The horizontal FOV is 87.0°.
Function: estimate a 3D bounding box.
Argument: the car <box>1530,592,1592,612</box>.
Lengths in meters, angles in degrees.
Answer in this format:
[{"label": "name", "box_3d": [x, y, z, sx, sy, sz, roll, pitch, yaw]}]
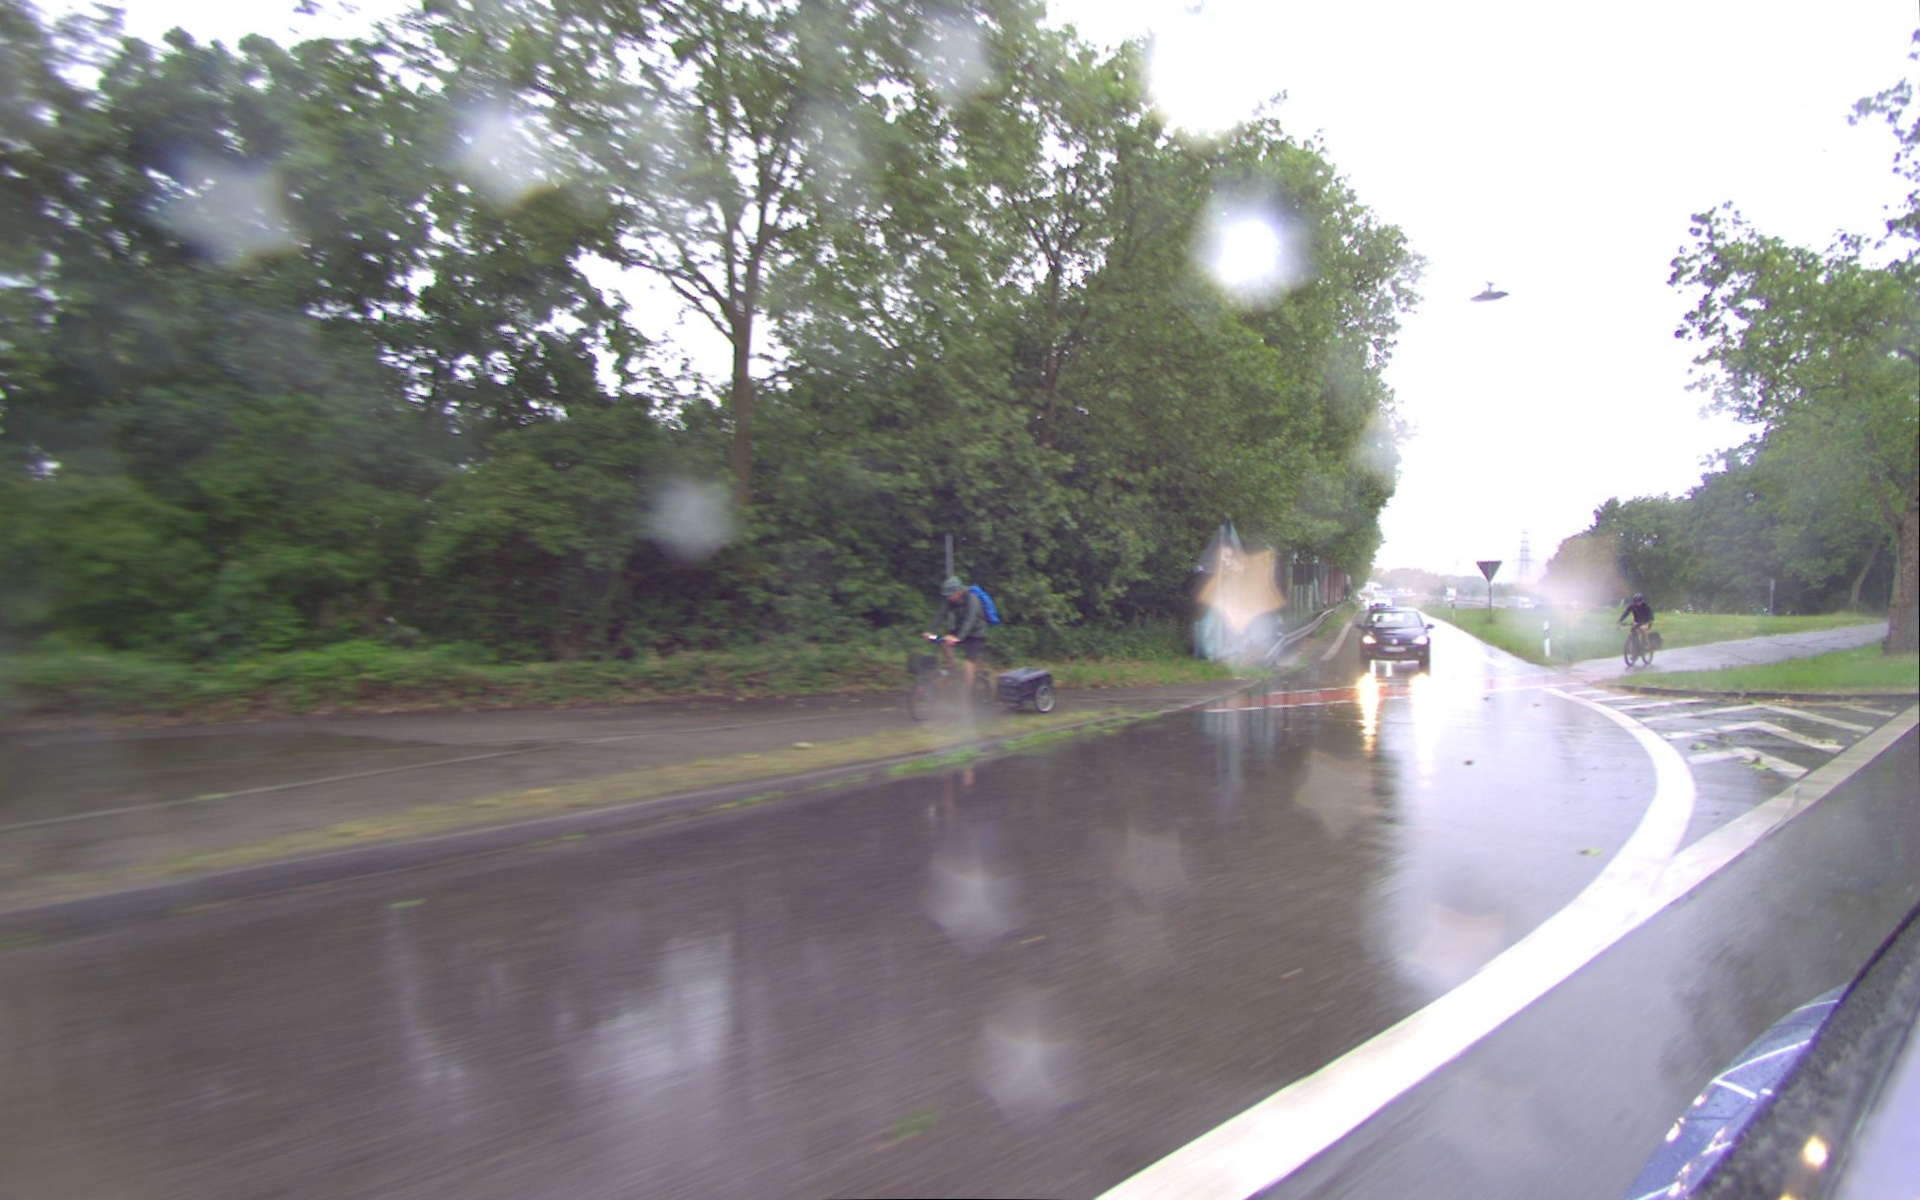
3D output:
[{"label": "car", "box_3d": [49.304, 0.141, 83.078, 1.719, 1.437, 4.002, 0, 2, -34]}]

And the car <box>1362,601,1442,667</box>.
[{"label": "car", "box_3d": [11.967, 0.850, 27.542, 1.848, 1.556, 4.482, 0, 1, 23]}]
